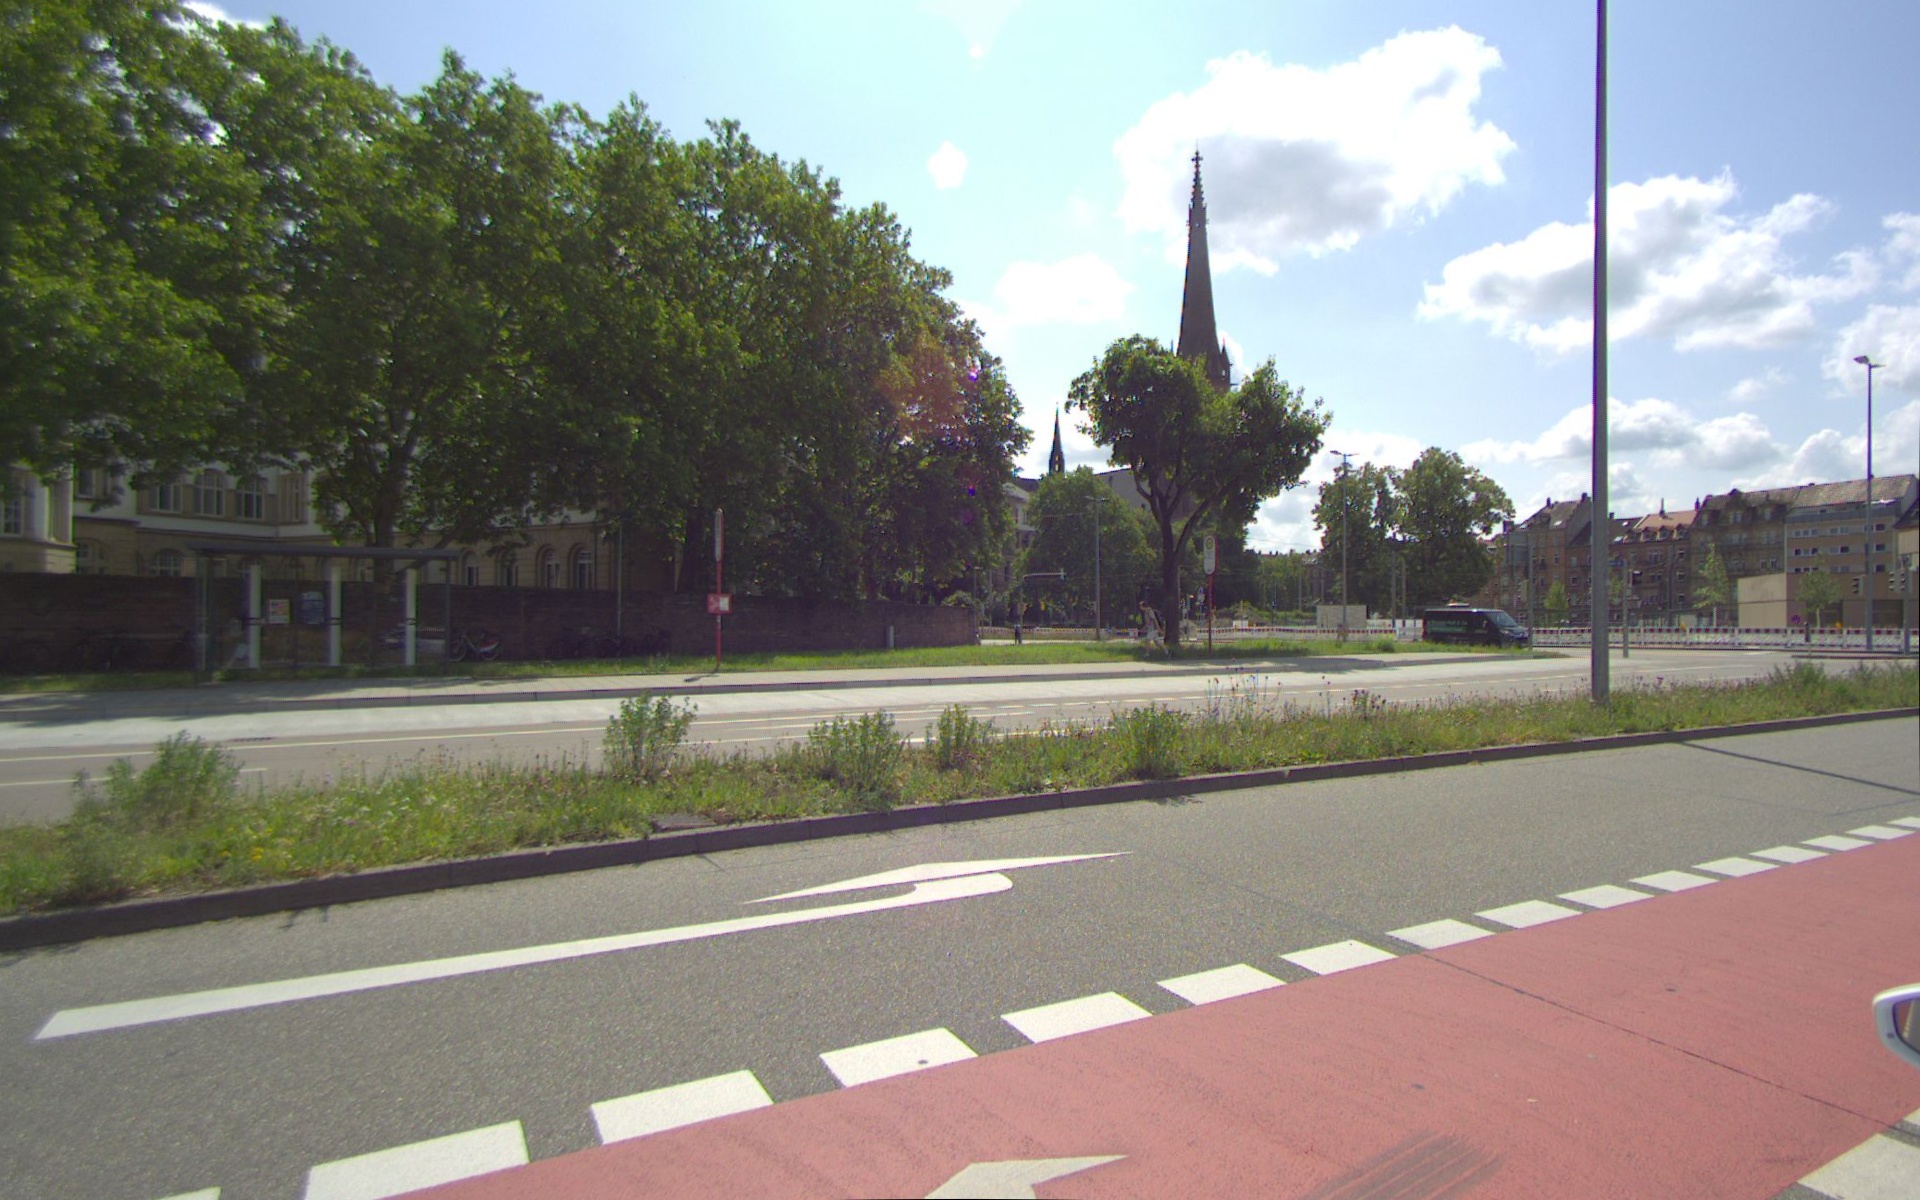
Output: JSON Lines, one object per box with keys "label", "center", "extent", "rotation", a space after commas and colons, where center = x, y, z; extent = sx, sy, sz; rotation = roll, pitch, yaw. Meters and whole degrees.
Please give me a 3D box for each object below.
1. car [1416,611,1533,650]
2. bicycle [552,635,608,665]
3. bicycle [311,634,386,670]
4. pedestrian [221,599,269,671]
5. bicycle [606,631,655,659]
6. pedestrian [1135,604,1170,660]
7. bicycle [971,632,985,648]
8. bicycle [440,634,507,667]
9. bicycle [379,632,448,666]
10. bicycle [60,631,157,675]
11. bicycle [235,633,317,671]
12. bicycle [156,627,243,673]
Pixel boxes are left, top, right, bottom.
{"label": "car", "center": [25.897, 1.498, 50.728], "extent": [1.908, 1.904, 4.980], "rotation": [0, -1, -33]}
{"label": "bicycle", "center": [-12.437, 1.632, 32.900], "extent": [0.537, 0.914, 1.658], "rotation": [0, -1, 39]}
{"label": "bicycle", "center": [-16.524, 1.382, 27.186], "extent": [0.537, 0.914, 1.658], "rotation": [0, -1, 39]}
{"label": "pedestrian", "center": [-16.768, 0.812, 23.560], "extent": [0.607, 1.638, 0.754], "rotation": [1, 0, 39]}
{"label": "bicycle", "center": [-11.367, 1.544, 34.690], "extent": [0.536, 0.914, 1.660], "rotation": [0, -1, 34]}
{"label": "pedestrian", "center": [5.472, 0.908, 28.573], "extent": [0.859, 1.580, 0.555], "rotation": [0, -1, -2]}
{"label": "bicycle", "center": [1.090, 2.352, 59.911], "extent": [0.534, 0.914, 1.666], "rotation": [0, -1, 12]}
{"label": "bicycle", "center": [-14.529, 1.491, 30.030], "extent": [0.446, 0.914, 1.786], "rotation": [0, -1, 39]}
{"label": "bicycle", "center": [-15.507, 1.370, 28.539], "extent": [0.537, 0.914, 1.658], "rotation": [0, -1, 39]}
{"label": "bicycle", "center": [-19.566, 1.195, 23.103], "extent": [0.538, 0.964, 1.656], "rotation": [0, -1, 43]}
{"label": "bicycle", "center": [-17.576, 1.323, 25.826], "extent": [0.537, 0.914, 1.658], "rotation": [0, -1, 39]}
{"label": "bicycle", "center": [-18.418, 1.192, 24.338], "extent": [0.538, 1.065, 1.615], "rotation": [0, -1, 43]}
